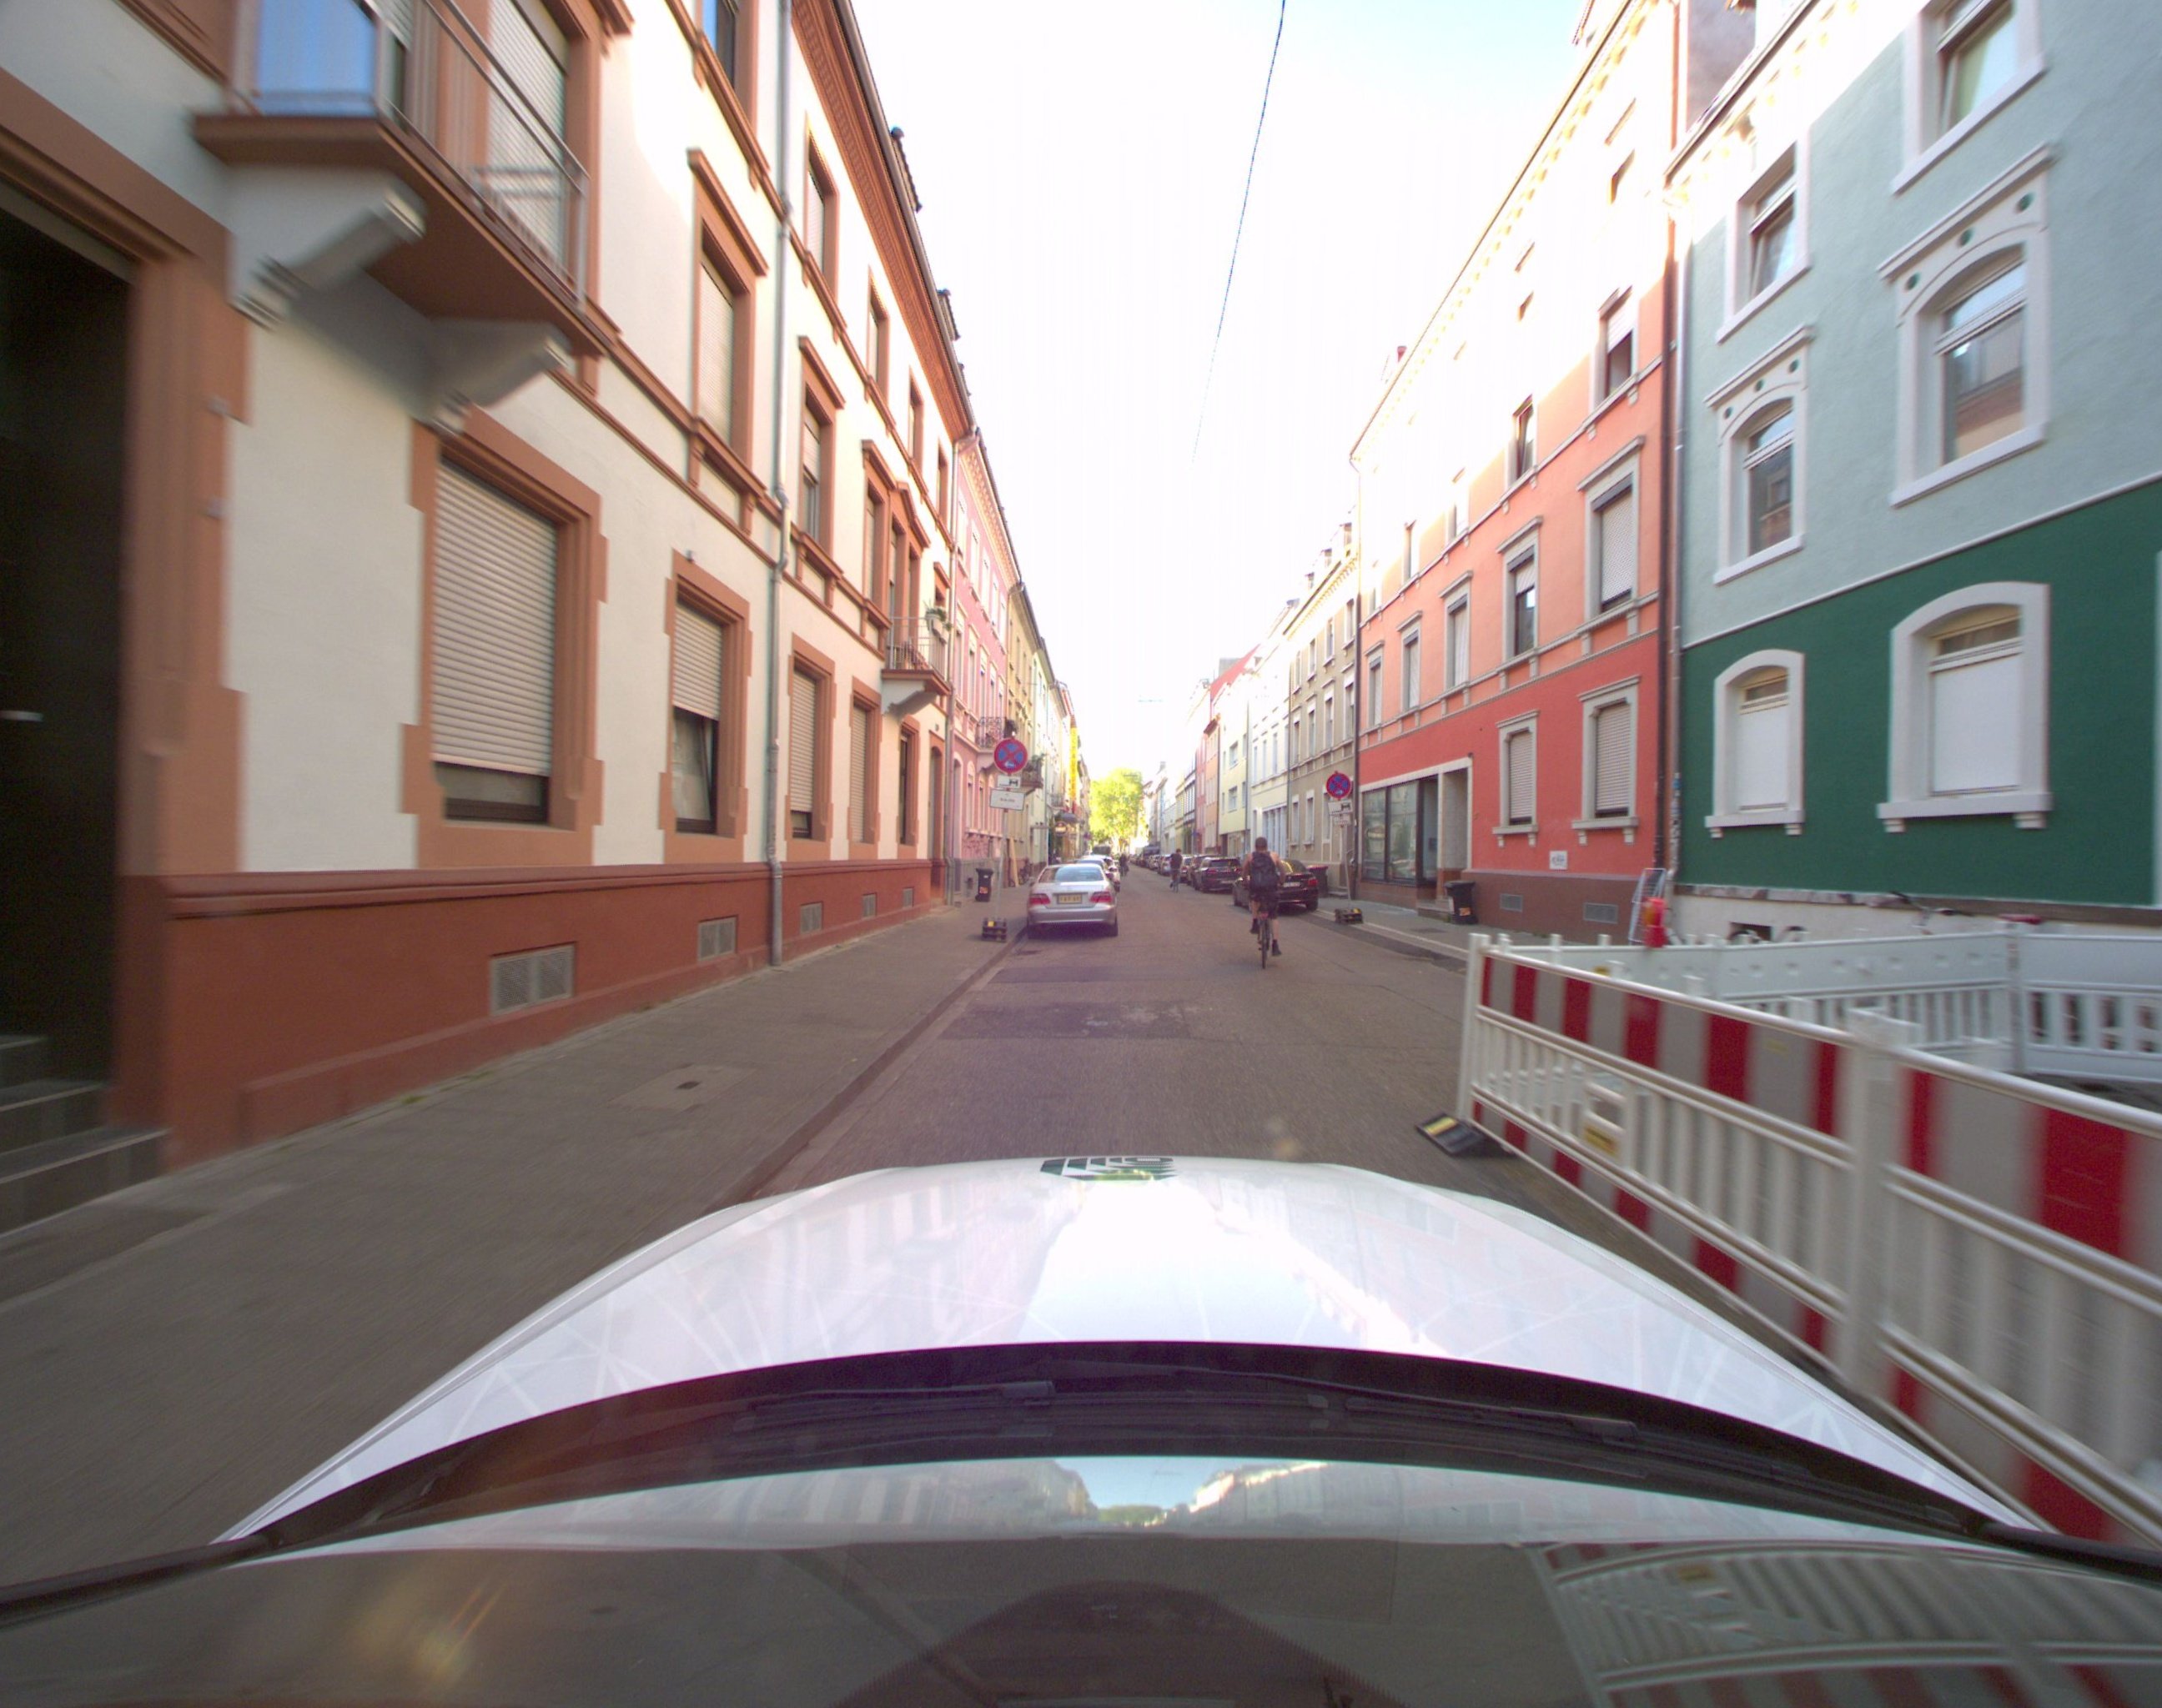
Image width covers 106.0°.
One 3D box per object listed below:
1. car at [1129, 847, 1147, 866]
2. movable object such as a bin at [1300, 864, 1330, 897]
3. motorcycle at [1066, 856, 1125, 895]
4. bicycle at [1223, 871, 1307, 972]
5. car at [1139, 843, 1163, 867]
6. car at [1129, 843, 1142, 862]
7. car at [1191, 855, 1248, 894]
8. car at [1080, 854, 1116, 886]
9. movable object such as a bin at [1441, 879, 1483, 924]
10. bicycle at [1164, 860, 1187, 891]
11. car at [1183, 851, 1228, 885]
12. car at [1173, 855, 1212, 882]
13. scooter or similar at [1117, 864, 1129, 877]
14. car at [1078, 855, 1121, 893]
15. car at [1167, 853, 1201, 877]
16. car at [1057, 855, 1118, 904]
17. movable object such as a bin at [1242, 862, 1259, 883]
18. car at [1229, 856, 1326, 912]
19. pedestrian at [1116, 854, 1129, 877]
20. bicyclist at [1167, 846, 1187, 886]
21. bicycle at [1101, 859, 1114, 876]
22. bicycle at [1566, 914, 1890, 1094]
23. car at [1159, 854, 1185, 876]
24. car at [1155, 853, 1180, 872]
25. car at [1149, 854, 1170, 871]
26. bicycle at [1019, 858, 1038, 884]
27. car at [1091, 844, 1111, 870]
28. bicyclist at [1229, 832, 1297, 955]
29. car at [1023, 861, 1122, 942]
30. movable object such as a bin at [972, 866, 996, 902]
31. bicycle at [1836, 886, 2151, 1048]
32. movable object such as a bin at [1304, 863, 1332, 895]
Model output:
[{"bbox_3d":[8.204,0.367,118.096,2.299,2.538,6.772,-1,0,2],"label":"car"},{"bbox_3d":[7.882,0.894,27.447,0.735,1.075,0.676,-2,-1,-5],"label":"movable object such as a bin"},{"bbox_3d":[0.557,0.810,31.199,2.151,1.359,0.537,-2,1,-17],"label":"motorcycle"},{"bbox_3d":[2.554,0.890,11.572,0.699,1.208,2.343,2,0,2],"label":"bicycle"},{"bbox_3d":[7.940,0.164,92.639,2.299,2.538,6.772,-1,0,2],"label":"car"},{"bbox_3d":[11.090,-0.292,165.451,2.299,3.768,6.772,-1,-1,2],"label":"car"},{"bbox_3d":[5.788,0.841,34.475,1.810,1.521,4.001,-1,0,2],"label":"car"},{"bbox_3d":[0.863,0.745,39.794,1.666,1.442,3.769,-1,0,2],"label":"car"},{"bbox_3d":[8.062,1.005,17.256,0.595,0.906,0.579,-2,-1,0],"label":"movable object such as a bin"},{"bbox_3d":[3.910,0.889,33.702,0.699,1.208,2.342,2,-1,1],"label":"bicycle"},{"bbox_3d":[6.075,0.659,40.044,1.704,1.556,4.001,-1,0,2],"label":"car"},{"bbox_3d":[6.172,0.781,45.494,1.704,1.383,4.001,-1,0,2],"label":"car"},{"bbox_3d":[2.893,1.137,56.069,0.769,0.873,0.770,2,-1,-3],"label":"scooter or similar"},{"bbox_3d":[0.787,0.791,34.008,1.666,1.442,4.167,-1,0,2],"label":"car"},{"bbox_3d":[6.347,0.657,50.548,1.704,1.383,4.001,-1,0,2],"label":"car"},{"bbox_3d":[0.288,0.763,26.838,1.703,1.383,4.361,1,1,4],"label":"car"},{"bbox_3d":[8.892,0.980,42.799,0.803,1.075,0.679,-2,-1,6],"label":"movable object such as a bin"},{"bbox_3d":[5.591,0.803,23.782,1.810,1.438,4.792,-1,0,2],"label":"car"},{"bbox_3d":[2.879,0.789,56.455,0.769,1.578,0.899,2,-1,-3],"label":"pedestrian"},{"bbox_3d":[3.956,0.507,33.547,0.699,1.605,0.813,2,-1,1],"label":"bicyclist"},{"bbox_3d":[1.831,0.926,56.106,0.697,1.105,2.273,2,0,-2],"label":"bicycle"},{"bbox_3d":[4.502,1.027,5.722,1.846,1.110,0.642,2,-1,-6],"label":"bicycle"},{"bbox_3d":[6.694,0.786,60.160,1.614,1.550,4.001,-1,0,2],"label":"car"},{"bbox_3d":[6.888,0.667,65.376,1.704,1.393,4.001,-1,0,2],"label":"car"},{"bbox_3d":[7.433,0.796,77.121,1.704,1.447,4.001,-1,0,2],"label":"car"},{"bbox_3d":[-2.283,0.723,35.422,0.590,1.089,2.080,2,0,2],"label":"bicycle"},{"bbox_3d":[1.998,0.273,81.427,1.903,2.497,4.164,0,0,0],"label":"car"},{"bbox_3d":[2.559,0.534,11.532,0.699,1.633,1.090,2,0,2],"label":"bicyclist"},{"bbox_3d":[-0.079,0.868,16.635,1.704,1.383,4.507,-1,0,2],"label":"car"},{"bbox_3d":[-2.678,0.818,22.424,0.541,0.945,0.487,2,-1,2],"label":"movable object such as a bin"},{"bbox_3d":[7.735,0.890,7.065,0.652,1.128,1.835,-3,-1,2],"label":"bicycle"},{"bbox_3d":[8.277,0.878,28.511,0.803,1.075,0.679,-2,-1,6],"label":"movable object such as a bin"}]
